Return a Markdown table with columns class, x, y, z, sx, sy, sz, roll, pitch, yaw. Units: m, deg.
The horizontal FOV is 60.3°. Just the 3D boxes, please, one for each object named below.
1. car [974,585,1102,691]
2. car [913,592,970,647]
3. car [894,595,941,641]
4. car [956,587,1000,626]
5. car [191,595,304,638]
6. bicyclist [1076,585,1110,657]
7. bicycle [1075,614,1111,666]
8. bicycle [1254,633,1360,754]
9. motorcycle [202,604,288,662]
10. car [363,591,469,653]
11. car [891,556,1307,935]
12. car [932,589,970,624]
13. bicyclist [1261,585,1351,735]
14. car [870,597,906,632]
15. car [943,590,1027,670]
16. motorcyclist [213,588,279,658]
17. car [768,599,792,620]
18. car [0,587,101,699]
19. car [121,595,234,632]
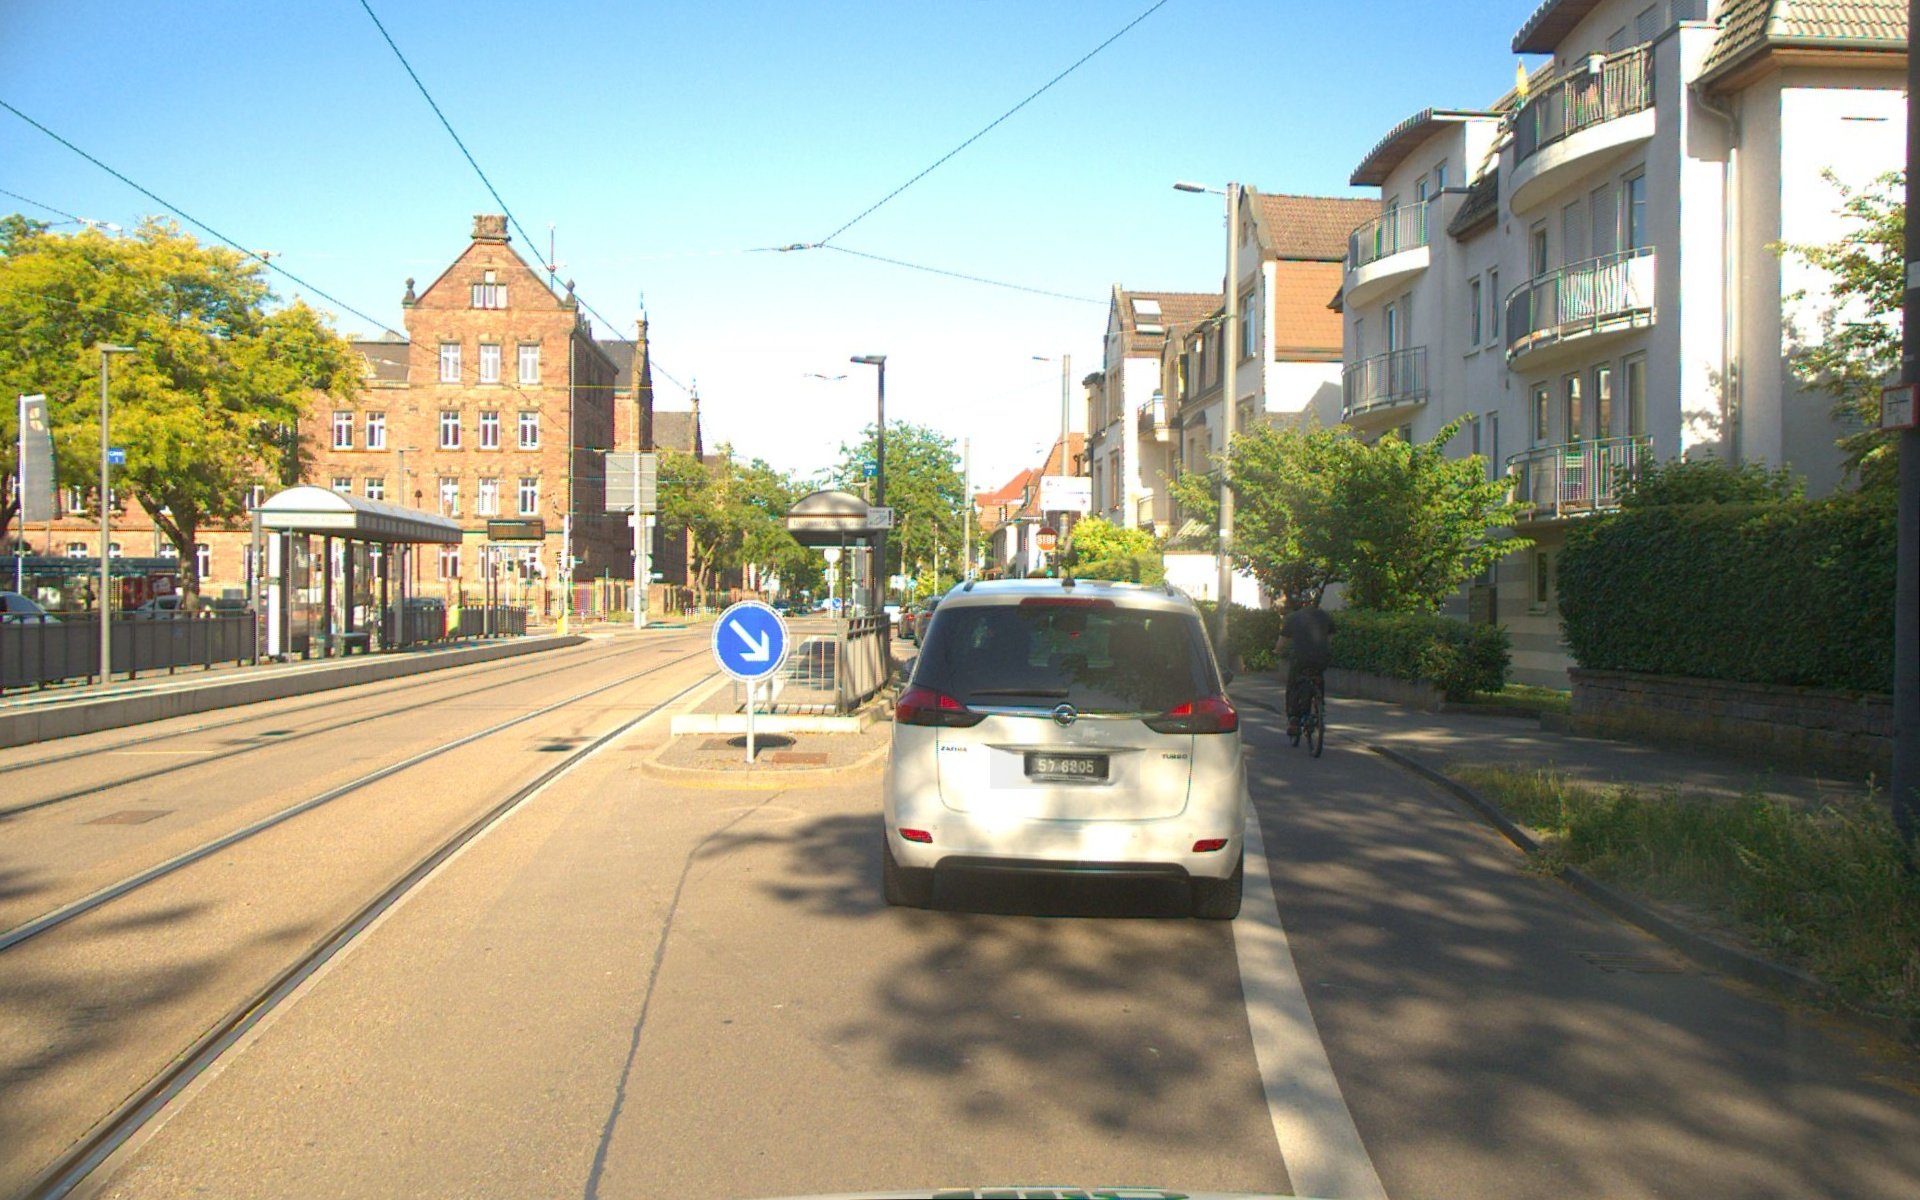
| class | x | y | z | sx | sy | sz | roll | pitch | yaw |
| --- | --- | --- | --- | --- | --- | --- | --- | --- | --- |
| car | 1.249 | 0.615 | 28.043 | 1.741 | 1.660 | 3.877 | 1 | 0 | -4 |
| car | -0.616 | 0.623 | 52.764 | 1.740 | 1.660 | 3.879 | 1 | 0 | -2 |
| car | -1.606 | 0.689 | 63.213 | 1.740 | 1.660 | 3.879 | 1 | 0 | -1 |
| car | 0.781 | 0.288 | 72.900 | 1.740 | 1.660 | 3.879 | 1 | 0 | -2 |
| car | -28.804 | 0.664 | 66.976 | 3.780 | 1.689 | 1.750 | 1 | -1 | -2 |
| bicyclist | 3.109 | 0.494 | 38.720 | 0.672 | 1.663 | 1.015 | 1 | -1 | -2 |
| bicycle | 3.103 | 0.920 | 38.734 | 0.672 | 1.177 | 1.619 | 1 | -1 | -1 |
| bicycle | 3.640 | 0.950 | 17.509 | 0.812 | 1.175 | 2.095 | 1 | -1 | 4 |
| motorcycle | -16.185 | 0.727 | 37.519 | 1.108 | 1.265 | 2.569 | 1 | 0 | -7 |
| car | -16.179 | 0.692 | 49.343 | 1.818 | 1.427 | 3.980 | -6 | -4 | -2 |
| car | 0.545 | 0.667 | 9.310 | 1.798 | 1.671 | 3.916 | 1 | 0 | -3 |
| car | -0.475 | 0.339 | 81.904 | 1.740 | 1.660 | 3.879 | 1 | 0 | -2 |
| bicyclist | 3.648 | 0.623 | 17.490 | 0.804 | 1.528 | 0.935 | 1 | -1 | 4 |
| car | -3.602 | 0.715 | 83.146 | 1.740 | 1.722 | 3.879 | 1 | 0 | -2 |
| car | 0.522 | 0.642 | 36.735 | 1.739 | 1.660 | 3.880 | 1 | 0 | 0 |
| motorcyclist | -16.183 | 0.512 | 37.513 | 1.103 | 1.552 | 1.053 | 1 | -1 | -8 |
| car | -15.124 | 0.821 | 139.170 | 1.869 | 1.706 | 4.354 | 1 | 0 | -4 |
| car | -14.105 | 0.607 | 23.221 | 1.845 | 1.439 | 4.623 | 0 | 2 | -3 |
| car | -33.973 | 0.577 | 71.902 | 3.982 | 1.548 | 1.876 | 1 | -1 | -2 |
